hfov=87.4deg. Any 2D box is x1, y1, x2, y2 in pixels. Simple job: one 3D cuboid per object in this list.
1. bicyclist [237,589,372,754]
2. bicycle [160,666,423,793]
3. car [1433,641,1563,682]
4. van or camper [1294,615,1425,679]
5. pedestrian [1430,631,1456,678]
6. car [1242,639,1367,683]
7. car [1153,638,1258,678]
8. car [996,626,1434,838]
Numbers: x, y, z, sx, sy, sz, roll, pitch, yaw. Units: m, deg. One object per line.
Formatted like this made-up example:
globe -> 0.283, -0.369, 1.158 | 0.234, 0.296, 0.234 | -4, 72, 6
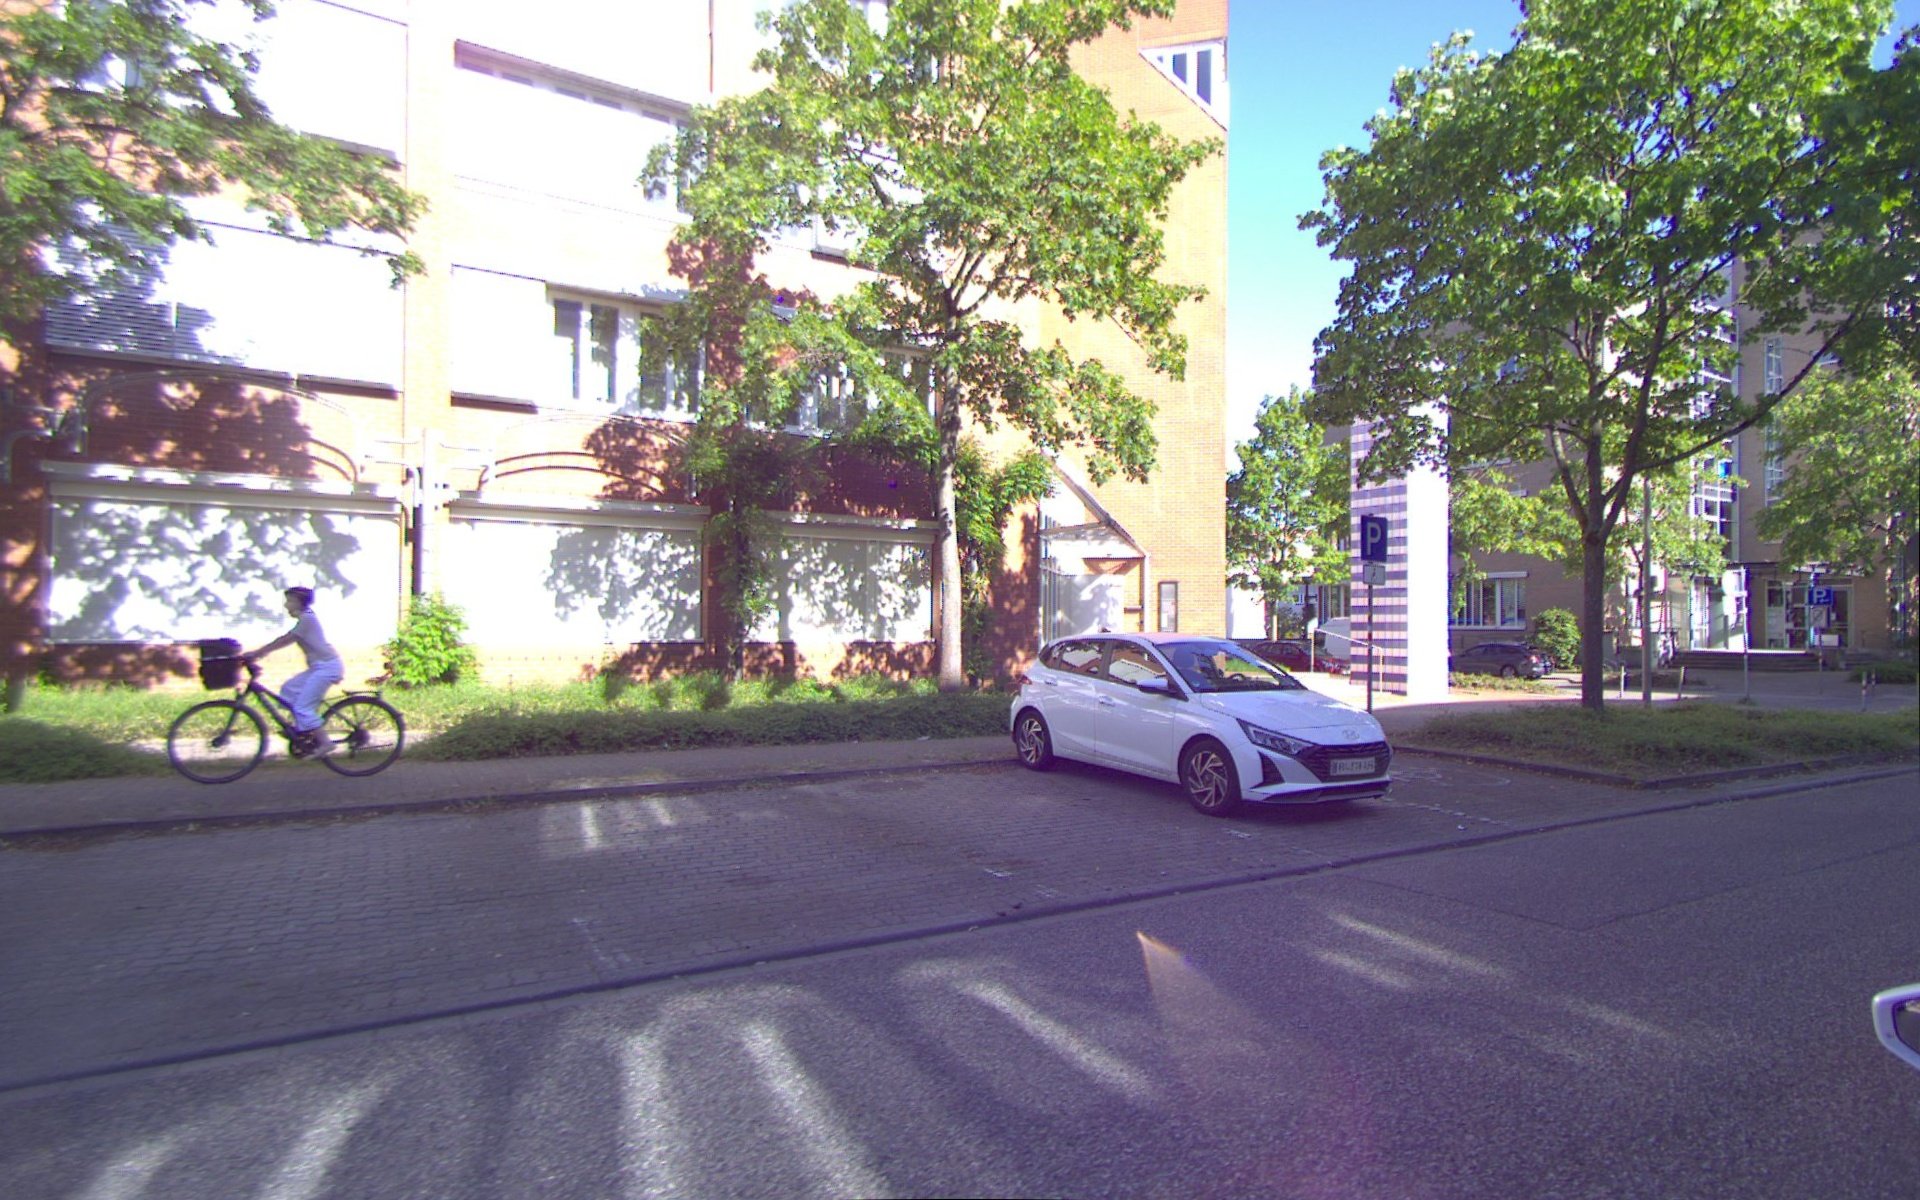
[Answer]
bicyclist -> -5.756, 0.615, 8.874 | 0.901, 1.371, 0.603 | 1, -2, -27
bicycle -> -5.793, 1.096, 8.845 | 1.839, 0.994, 0.603 | 1, -2, -27
car -> 21.393, 2.413, 40.112 | 1.976, 1.496, 4.173 | 0, -2, -30
van or camper -> 18.177, 2.126, 46.025 | 2.155, 2.710, 5.343 | 0, -2, -30
pedestrian -> 21.363, 2.401, 44.433 | 0.806, 2.040, 0.777 | 2, -2, -38
car -> 12.862, 2.308, 37.737 | 1.977, 1.496, 4.174 | 5, -5, -29
car -> 10.263, 2.444, 42.251 | 1.977, 1.496, 4.174 | 5, -5, -29
car -> 2.160, 1.035, 9.572 | 1.786, 1.506, 3.967 | 1, -1, -31
